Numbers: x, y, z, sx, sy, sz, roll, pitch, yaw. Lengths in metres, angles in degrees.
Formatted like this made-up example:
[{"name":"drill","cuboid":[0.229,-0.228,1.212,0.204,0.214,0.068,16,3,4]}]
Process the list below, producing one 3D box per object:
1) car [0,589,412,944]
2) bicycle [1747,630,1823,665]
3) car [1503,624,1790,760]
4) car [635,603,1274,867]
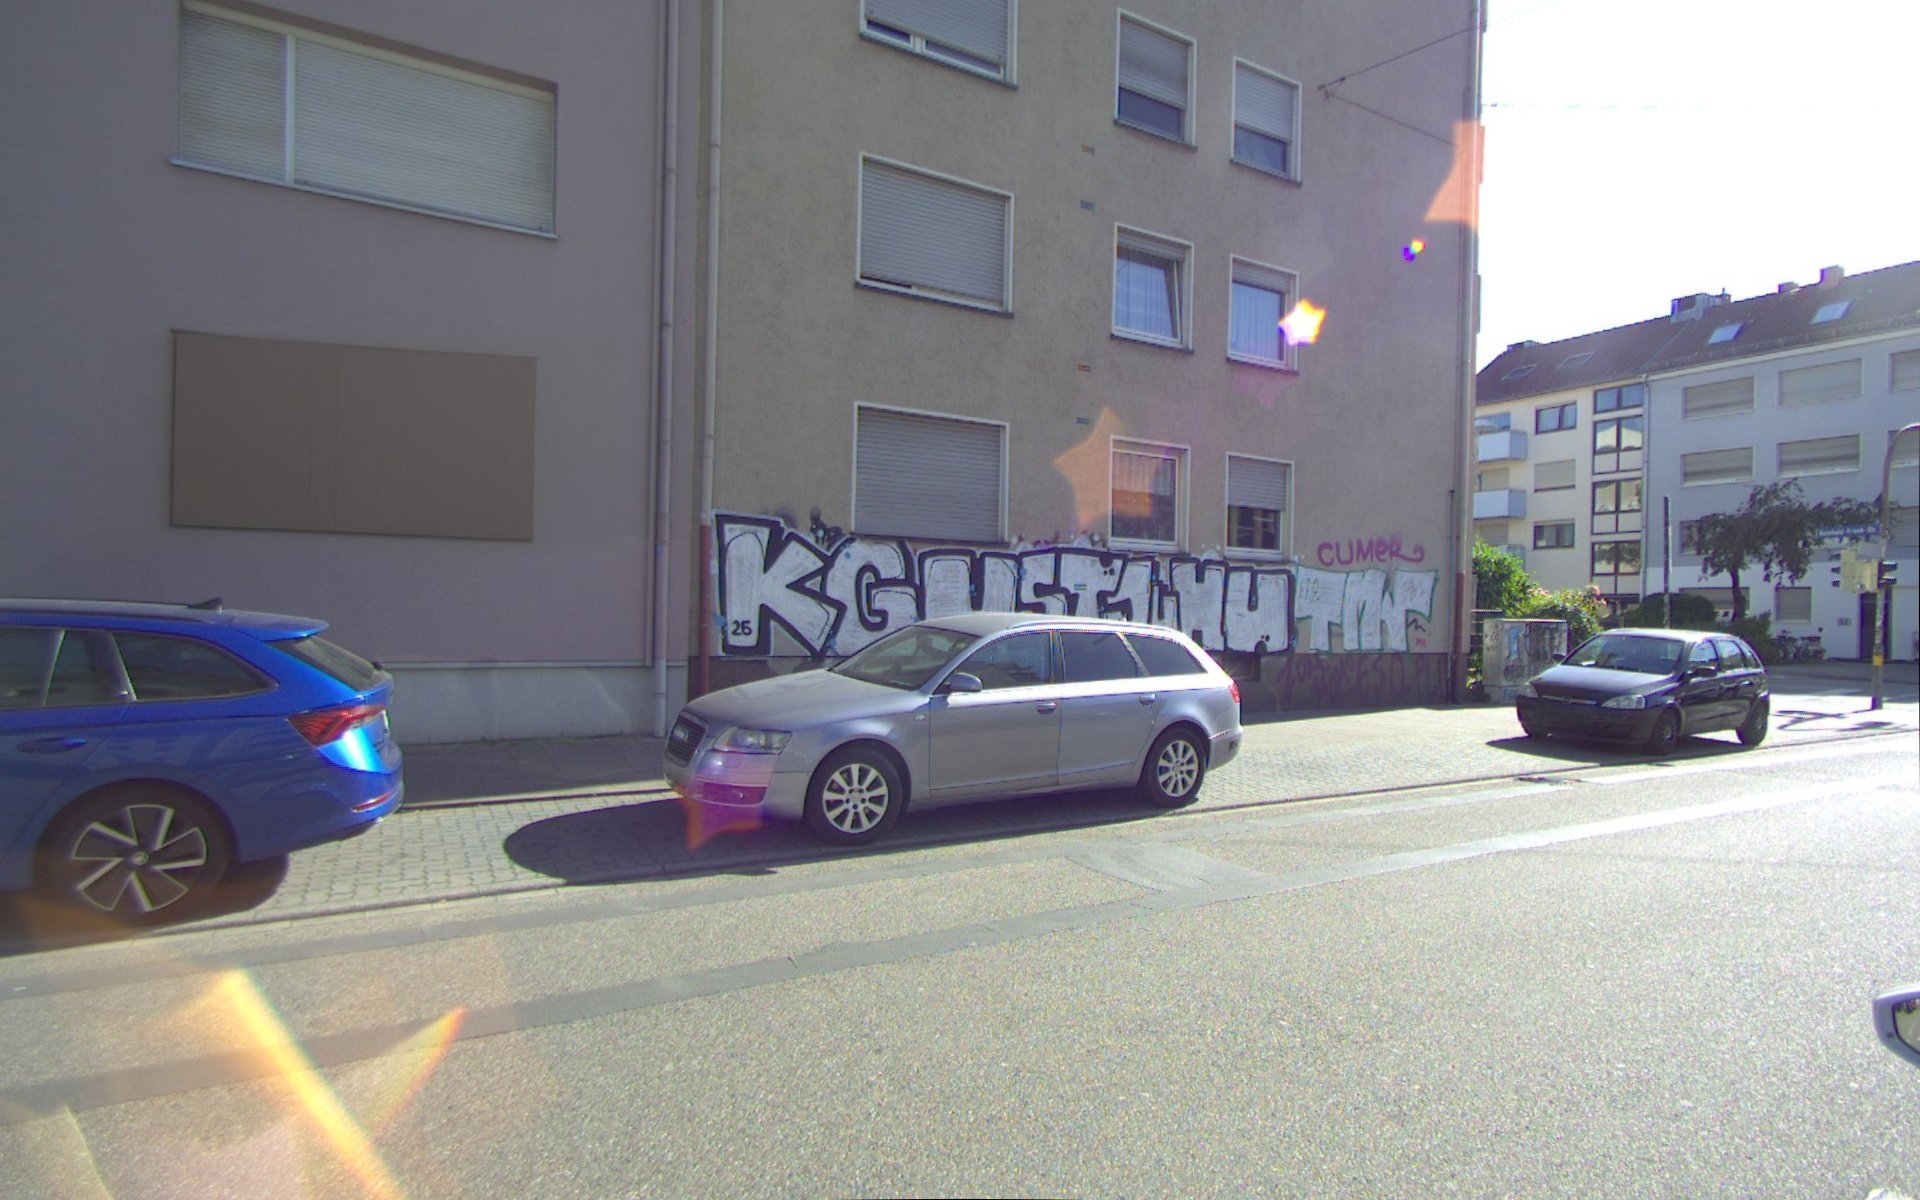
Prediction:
[{"name":"car","cuboid":[-5.193,0.705,4.709,4.559,1.485,1.708,1,1,-31]},{"name":"bicycle","cuboid":[29.955,1.726,36.514,2.068,1.188,0.738,0,-1,37]},{"name":"car","cuboid":[8.854,1.088,12.903,3.667,1.444,1.608,1,2,-31]},{"name":"car","cuboid":[0.108,0.840,7.823,4.759,1.485,1.708,1,1,-31]}]
